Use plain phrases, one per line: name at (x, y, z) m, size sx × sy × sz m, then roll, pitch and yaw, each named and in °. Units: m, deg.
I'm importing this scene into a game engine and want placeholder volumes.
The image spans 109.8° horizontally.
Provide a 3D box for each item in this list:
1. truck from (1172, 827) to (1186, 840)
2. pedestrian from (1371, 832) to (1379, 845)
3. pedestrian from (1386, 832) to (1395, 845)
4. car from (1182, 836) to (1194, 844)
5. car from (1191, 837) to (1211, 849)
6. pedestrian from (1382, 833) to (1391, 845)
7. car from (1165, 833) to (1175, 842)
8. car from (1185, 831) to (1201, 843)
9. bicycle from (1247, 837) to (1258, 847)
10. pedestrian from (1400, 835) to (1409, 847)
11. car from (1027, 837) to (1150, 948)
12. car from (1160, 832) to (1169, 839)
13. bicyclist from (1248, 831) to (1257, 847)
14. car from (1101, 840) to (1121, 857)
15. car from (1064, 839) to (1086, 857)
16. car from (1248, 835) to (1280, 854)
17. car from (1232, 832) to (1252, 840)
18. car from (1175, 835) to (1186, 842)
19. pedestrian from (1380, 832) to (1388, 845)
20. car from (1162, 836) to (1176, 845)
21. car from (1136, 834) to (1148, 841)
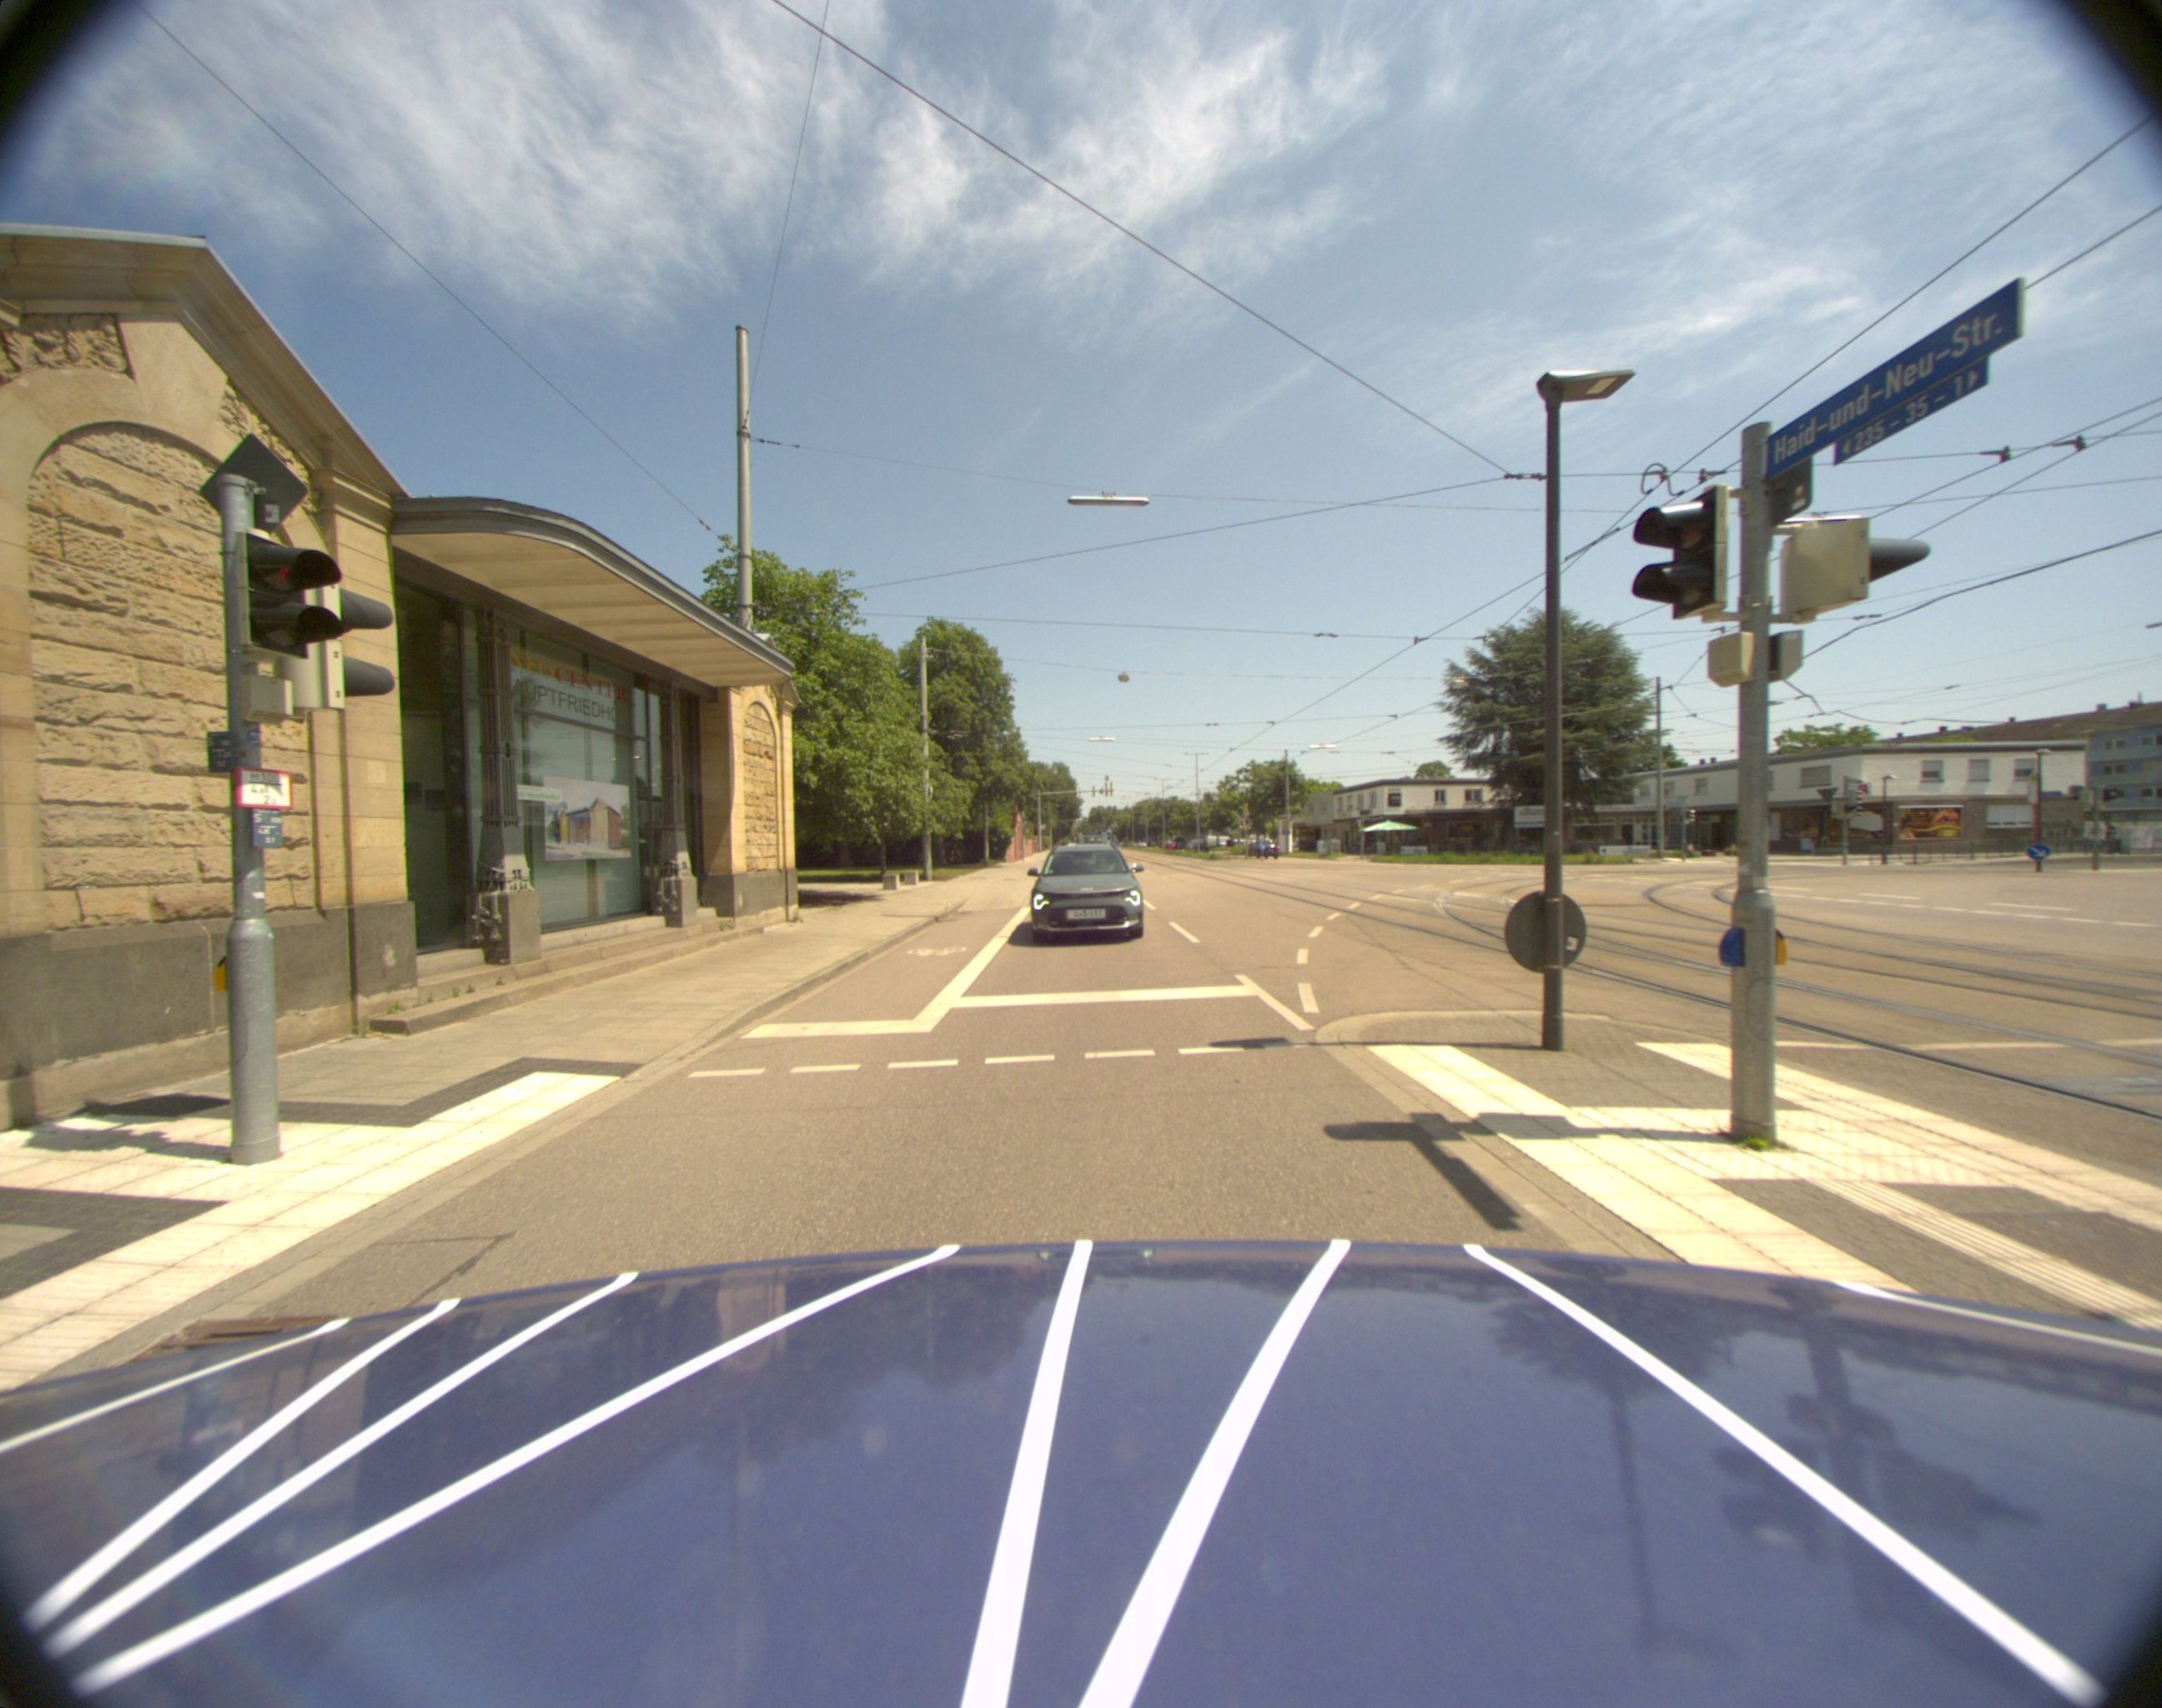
truck at (18.978, -3.934, 147.334) m, size 2.225 × 2.527 × 4.927 m, roll 0°, pitch 1°, yaw 0°
pedestrian at (28.383, -1.483, 73.423) m, size 0.576 × 1.232 × 0.491 m, roll -1°, pitch 2°, yaw -1°
pedestrian at (29.673, -1.494, 72.855) m, size 0.518 × 1.202 × 0.674 m, roll -1°, pitch 2°, yaw 0°
car at (18.502, -2.414, 131.130) m, size 1.675 × 1.379 × 3.568 m, roll 0°, pitch 1°, yaw 2°
car at (15.106, -1.440, 95.661) m, size 1.714 × 1.430 × 3.863 m, roll -1°, pitch 1°, yaw -3°
pedestrian at (29.823, -1.432, 74.190) m, size 0.518 × 1.157 × 0.674 m, roll -1°, pitch 2°, yaw 0°
car at (18.895, -3.512, 161.408) m, size 1.681 × 1.963 × 4.508 m, roll -1°, pitch 1°, yaw -1°
car at (18.363, -2.829, 124.848) m, size 1.998 × 1.873 × 4.660 m, roll 0°, pitch 1°, yaw 0°
bicycle at (19.127, -1.314, 84.737) m, size 0.696 × 1.142 × 1.931 m, roll -1°, pitch 1°, yaw -1°
pedestrian at (28.545, -1.143, 67.010) m, size 0.518 × 1.121 × 0.674 m, roll -1°, pitch 2°, yaw 0°
car at (0.127, 0.539, 13.577) m, size 1.789 × 1.562 × 4.182 m, roll -3°, pitch 2°, yaw 0°
car at (19.500, -4.276, 177.761) m, size 1.681 × 1.693 × 3.822 m, roll -1°, pitch 1°, yaw -1°
bicyclist at (19.121, -1.639, 84.714) m, size 0.696 × 1.755 × 1.137 m, roll -1°, pitch 1°, yaw -1°
car at (2.724, -0.547, 70.408) m, size 1.620 × 1.413 × 3.654 m, roll 2°, pitch 2°, yaw -1°
car at (-0.531, -0.570, 70.321) m, size 1.999 × 1.652 × 3.999 m, roll 0°, pitch 1°, yaw 0°
car at (16.049, -0.863, 66.831) m, size 1.798 × 1.570 × 4.494 m, roll 0°, pitch 1°, yaw 2°
car at (30.279, -3.445, 142.788) m, size 3.415 × 1.497 × 1.602 m, roll -1°, pitch 2°, yaw -5°
car at (18.534, -2.852, 141.218) m, size 1.675 × 1.379 × 3.669 m, roll 0°, pitch 1°, yaw 2°
pedestrian at (29.079, -1.464, 72.877) m, size 0.518 × 1.192 × 0.674 m, roll -1°, pitch 2°, yaw 0°
car at (14.789, -2.260, 127.468) m, size 1.629 × 1.475 × 3.826 m, roll -1°, pitch 1°, yaw -5°
car at (14.234, -3.900, 177.797) m, size 1.999 × 1.544 × 4.136 m, roll 1°, pitch 1°, yaw -4°
